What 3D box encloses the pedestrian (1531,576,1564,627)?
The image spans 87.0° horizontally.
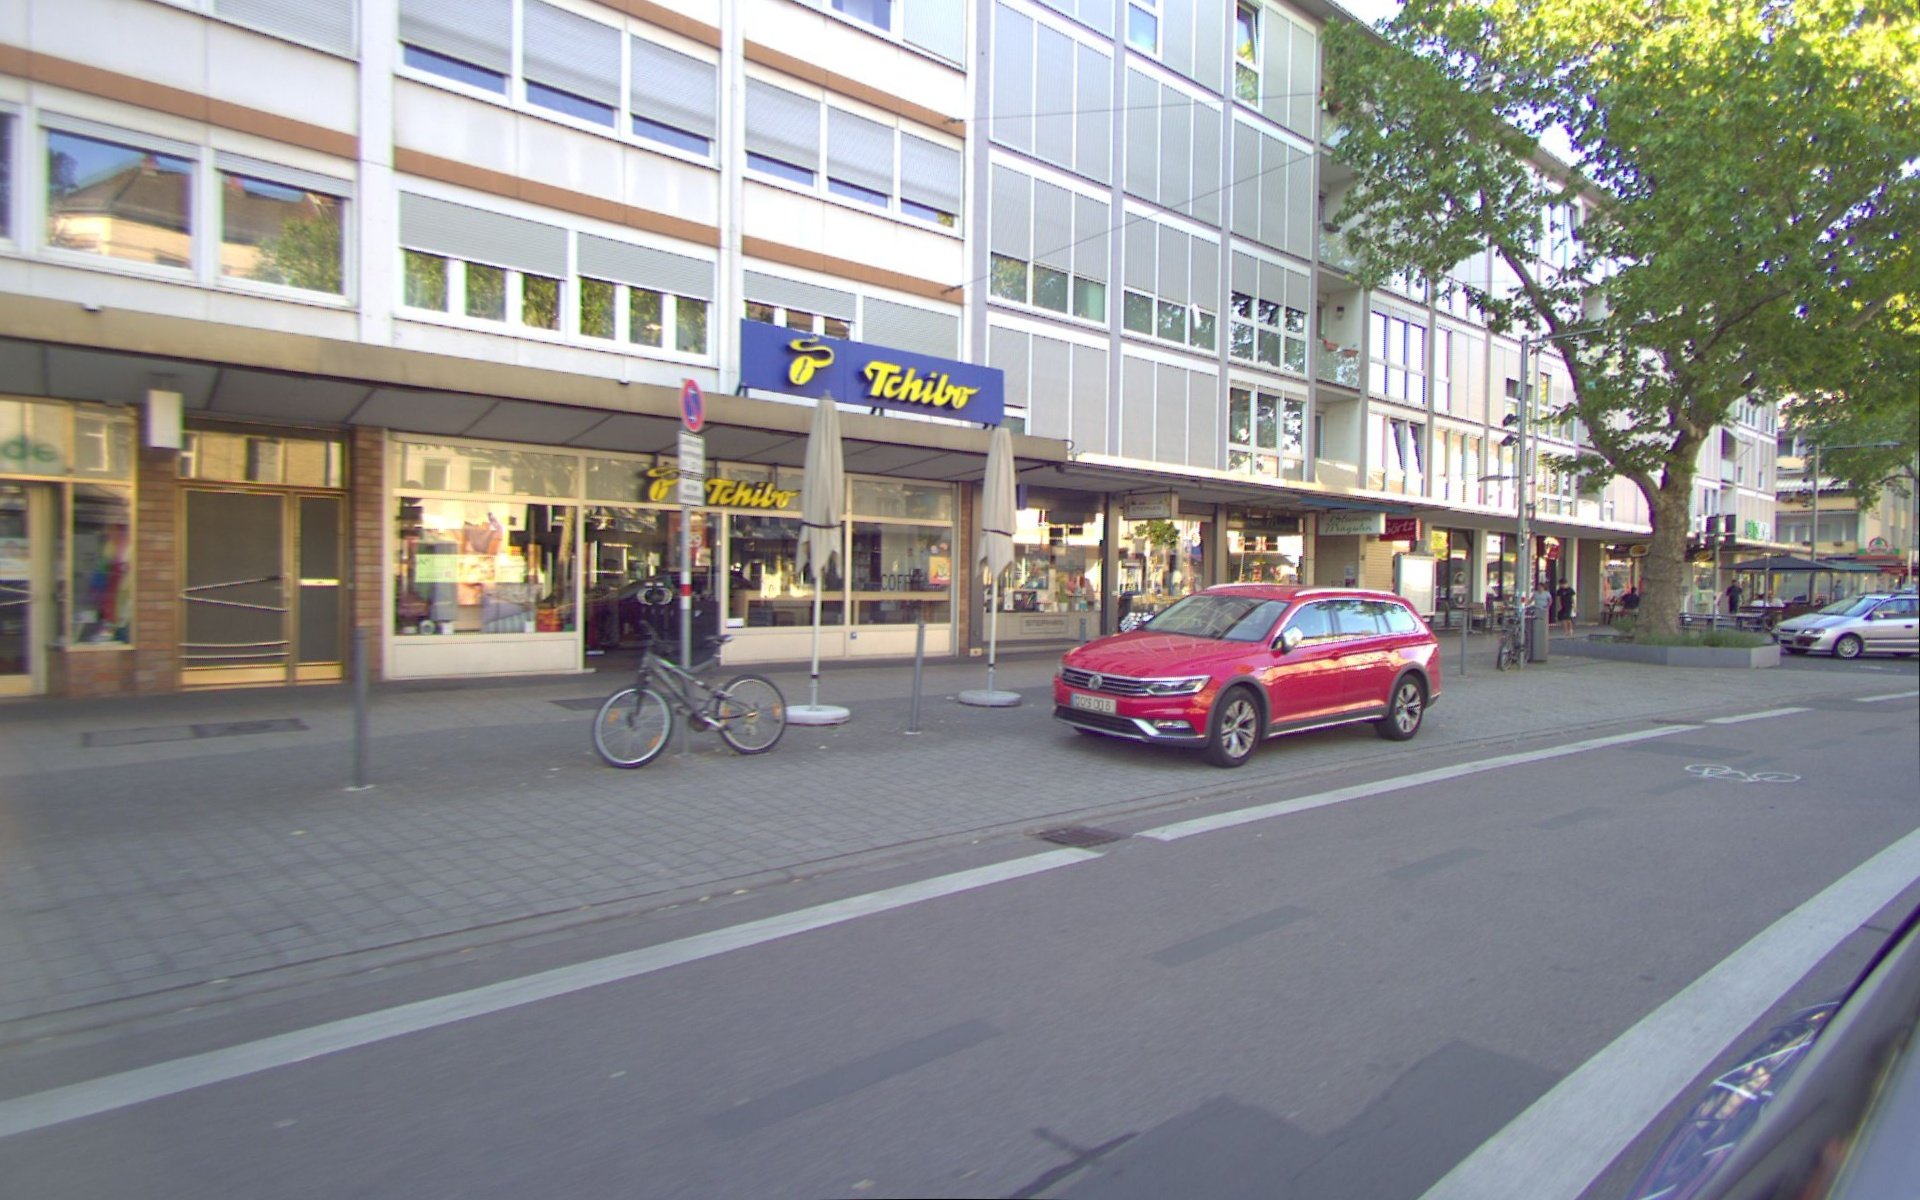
[{"bbox_3d":[16.757,0.038,28.851,0.675,1.417,0.538,0,4,-39],"label":"pedestrian"}]

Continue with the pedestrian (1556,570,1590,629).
[{"bbox_3d":[17.201,-0.027,28.401,0.675,1.610,0.538,0,4,-39],"label":"pedestrian"}]

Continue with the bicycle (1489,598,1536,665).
[{"bbox_3d":[9.965,0.542,18.243,0.294,1.114,1.692,5,4,41],"label":"bicycle"}]

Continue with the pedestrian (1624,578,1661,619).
[{"bbox_3d":[23.902,-0.060,35.447,0.944,1.379,0.751,0,1,-34],"label":"pedestrian"}]

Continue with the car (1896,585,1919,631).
[{"bbox_3d":[33.210,0.305,32.720,3.938,1.454,1.655,1,3,12],"label":"car"}]

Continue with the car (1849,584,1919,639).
[{"bbox_3d":[27.718,0.335,28.292,3.934,1.454,1.656,1,3,9],"label":"car"}]

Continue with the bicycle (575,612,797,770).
[{"bbox_3d":[-2.139,0.669,8.046,1.633,1.083,0.512,0,3,-43],"label":"bicycle"}]

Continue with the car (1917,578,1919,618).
[{"bbox_3d":[40.210,0.005,39.379,3.938,1.582,1.655,1,3,12],"label":"car"}]

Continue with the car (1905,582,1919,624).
[{"bbox_3d":[37.802,0.164,37.342,3.938,1.541,1.655,1,3,12],"label":"car"}]

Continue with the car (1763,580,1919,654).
[{"bbox_3d":[21.877,0.392,24.081,3.928,1.626,1.808,1,1,4],"label":"car"}]

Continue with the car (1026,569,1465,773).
[{"bbox_3d":[2.933,0.520,9.905,4.484,1.514,1.784,0,3,-38],"label":"car"}]

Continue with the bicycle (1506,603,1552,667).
[{"bbox_3d":[10.136,0.601,18.013,0.294,1.053,1.692,5,4,41],"label":"bicycle"}]

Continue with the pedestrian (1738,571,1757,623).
[{"bbox_3d":[31.485,-0.118,40.457,0.549,2.039,0.570,-1,-1,37],"label":"pedestrian"}]
